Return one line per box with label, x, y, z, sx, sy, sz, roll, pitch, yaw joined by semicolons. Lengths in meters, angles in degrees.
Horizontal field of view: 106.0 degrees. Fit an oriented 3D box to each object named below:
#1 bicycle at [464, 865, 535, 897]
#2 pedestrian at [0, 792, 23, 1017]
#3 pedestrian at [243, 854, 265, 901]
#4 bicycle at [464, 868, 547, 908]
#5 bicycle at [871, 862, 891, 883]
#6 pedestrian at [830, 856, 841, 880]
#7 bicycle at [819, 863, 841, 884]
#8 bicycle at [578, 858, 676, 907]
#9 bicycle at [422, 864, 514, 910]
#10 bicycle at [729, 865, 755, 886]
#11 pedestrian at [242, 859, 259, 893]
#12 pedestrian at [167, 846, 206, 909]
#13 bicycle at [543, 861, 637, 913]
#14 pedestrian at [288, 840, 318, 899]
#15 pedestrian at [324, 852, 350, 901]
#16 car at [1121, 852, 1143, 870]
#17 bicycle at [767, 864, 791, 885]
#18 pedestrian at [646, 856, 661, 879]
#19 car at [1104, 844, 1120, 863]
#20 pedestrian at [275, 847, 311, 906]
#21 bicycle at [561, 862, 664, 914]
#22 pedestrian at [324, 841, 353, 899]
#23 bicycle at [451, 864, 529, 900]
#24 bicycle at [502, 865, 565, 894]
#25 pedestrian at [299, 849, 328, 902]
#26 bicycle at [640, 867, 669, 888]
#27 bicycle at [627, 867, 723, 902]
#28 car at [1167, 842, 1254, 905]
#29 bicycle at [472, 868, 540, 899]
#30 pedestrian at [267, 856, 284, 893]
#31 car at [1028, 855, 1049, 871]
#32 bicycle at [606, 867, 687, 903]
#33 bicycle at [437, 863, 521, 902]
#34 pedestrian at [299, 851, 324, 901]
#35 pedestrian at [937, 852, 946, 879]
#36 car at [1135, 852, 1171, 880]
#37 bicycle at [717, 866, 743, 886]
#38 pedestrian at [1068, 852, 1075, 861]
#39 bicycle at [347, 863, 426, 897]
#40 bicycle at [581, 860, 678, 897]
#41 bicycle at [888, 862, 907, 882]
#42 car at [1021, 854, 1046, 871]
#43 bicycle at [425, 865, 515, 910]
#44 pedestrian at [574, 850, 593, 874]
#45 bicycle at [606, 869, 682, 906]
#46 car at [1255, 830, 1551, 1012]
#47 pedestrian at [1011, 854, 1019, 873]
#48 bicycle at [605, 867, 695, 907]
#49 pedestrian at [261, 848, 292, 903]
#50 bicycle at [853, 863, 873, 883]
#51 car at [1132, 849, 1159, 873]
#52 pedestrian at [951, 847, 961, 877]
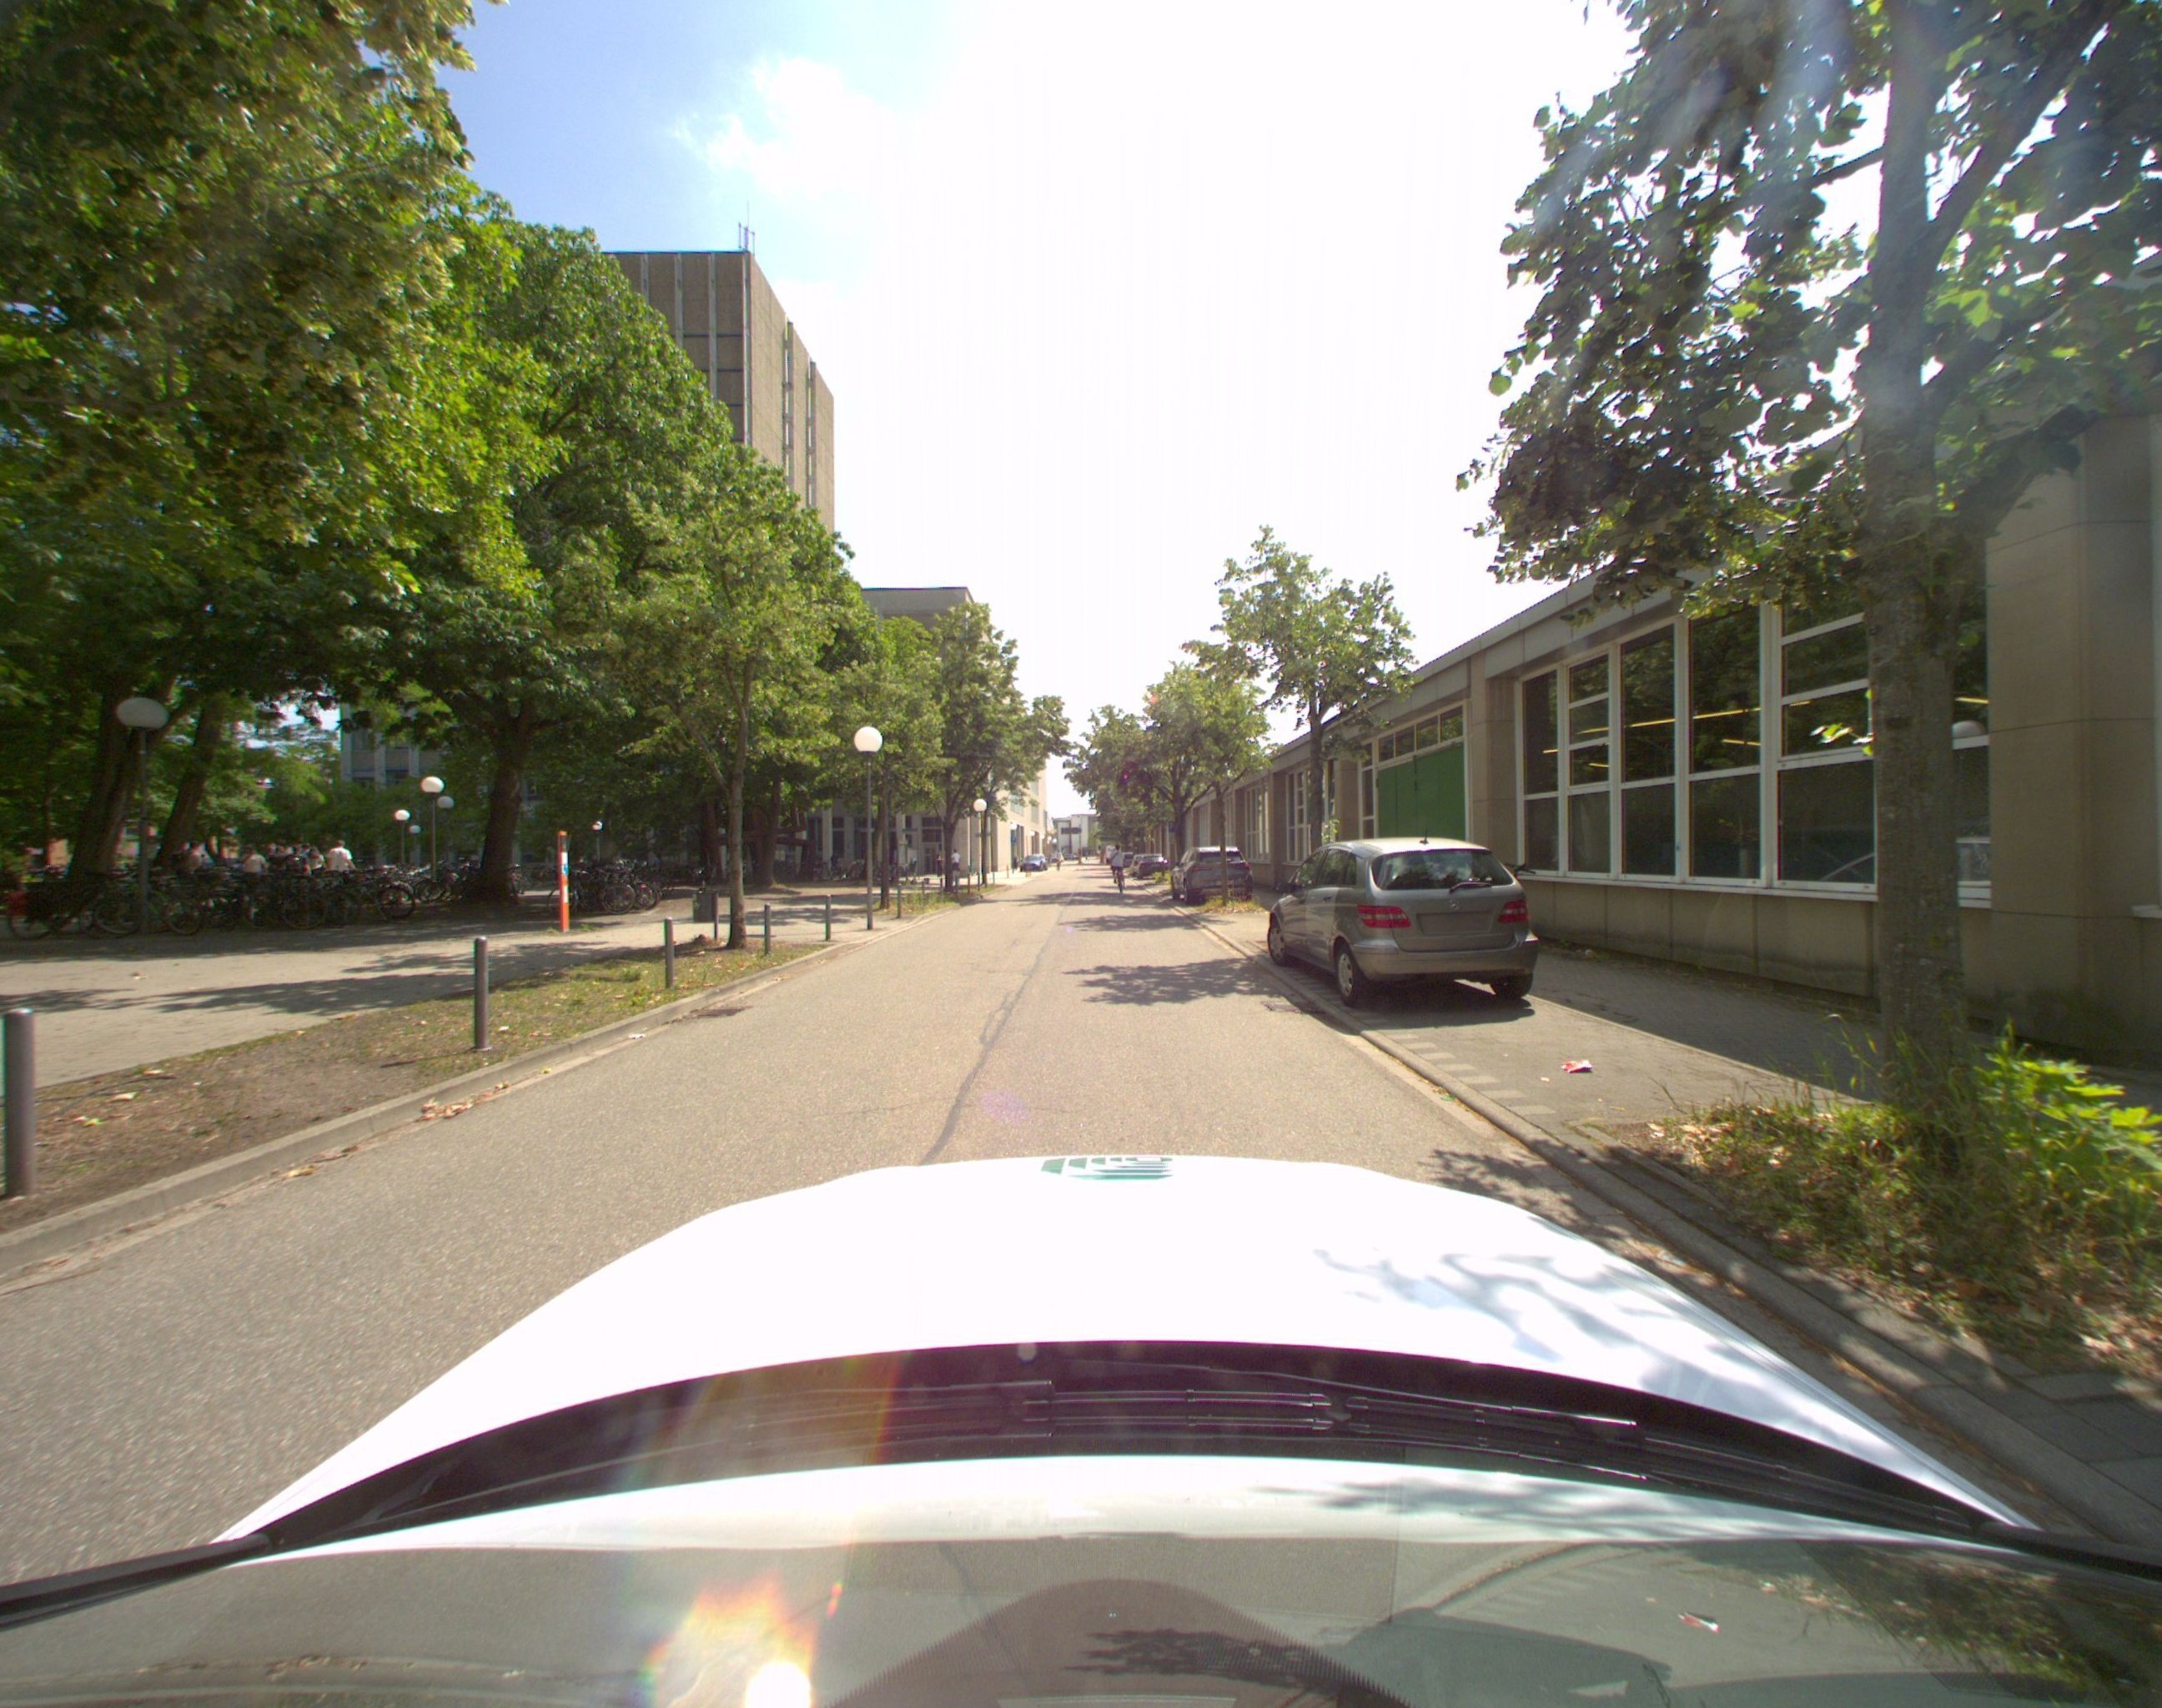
bicycle;-21.428;0.996;30.066;2.068;1.132;0.633;3;-1;-35
pedestrian;-9.903;0.426;6.819;0.912;1.954;0.895;1;-1;10
pedestrian;-28.927;0.807;28.489;0.346;1.614;0.464;0;0;27
bicycle;-17.724;1.033;25.139;2.069;1.132;0.633;0;0;-35
bicycle;-11.184;1.017;45.628;0.550;1.086;1.973;1;0;1
pedestrian;-17.015;0.944;56.521;0.636;1.661;0.689;0;0;-24
bicycle;-14.004;1.076;45.532;0.550;1.086;1.973;1;0;1
bicycle;-11.726;0.738;21.116;2.058;1.234;0.804;1;-1;-17
bicycle;-17.421;0.915;23.207;2.069;1.234;0.633;0;0;-35
bicycle;-18.919;1.181;45.452;0.550;1.086;1.973;1;0;1
pedestrian;-37.929;0.992;37.177;0.411;1.526;0.482;0;0;-30
pedestrian;-24.328;0.627;22.166;0.580;1.670;0.624;0;0;-34
bicycle;-11.205;0.736;18.625;1.777;1.132;0.456;0;0;-17
pedestrian;-26.216;0.508;27.440;0.624;1.934;0.675;0;0;-34
pedestrian;-30.889;0.914;33.809;0.528;2.013;0.595;0;0;15
car;4.787;0.656;76.357;1.852;1.574;4.001;-2;0;1
bicycle;-16.802;1.133;45.407;0.550;1.086;1.973;1;0;1
pedestrian;-28.758;0.923;54.775;0.702;1.540;0.717;0;0;-9
car;4.138;-0.090;110.242;2.076;2.539;4.316;0;0;1
pedestrian;-22.938;0.643;23.729;0.634;1.670;0.722;0;0;-34
bicycle;-11.559;0.810;20.168;2.059;1.234;0.804;0;0;-17
pedestrian;-25.426;0.535;27.899;0.650;1.934;0.689;0;0;-34
bicycle;-19.530;0.911;26.969;2.069;1.132;0.633;0;0;-35
bicycle;-22.423;1.035;33.394;2.068;1.132;0.633;3;-2;-35
pedestrian;-24.299;0.663;25.805;0.558;1.670;0.686;0;0;-34
bicycle;-23.706;1.281;45.287;0.550;1.086;1.973;1;0;1
bicycle;-13.620;1.001;27.392;2.766;1.086;0.872;0;0;-42
car;3.835;0.567;24.843;1.817;1.664;4.582;-2;-1;-1
bicycle;-21.766;1.102;30.882;2.069;1.132;0.633;0;1;-35
pedestrian;-37.519;0.934;37.929;0.414;1.714;0.539;0;0;-30
car;-4.027;0.837;77.042;1.625;1.485;4.179;-1;0;1
bicycle;-13.189;0.931;24.746;2.160;1.008;0.671;0;0;-30
bicycle;-18.801;0.865;25.495;2.069;1.158;0.633;0;1;-35
pedestrian;-31.439;0.897;33.265;0.528;2.013;0.521;0;0;15
pedestrian;-9.219;0.726;53.772;0.444;1.775;0.447;0;0;-30
car;4.223;0.682;48.274;1.774;1.476;4.462;-2;0;1
bicycle;-19.697;1.206;45.675;0.550;1.086;1.973;1;0;1
pedestrian;-2.112;0.556;183.247;1.413;2.107;0.994;0;0;-3
bicycle;-24.628;0.902;28.917;2.069;1.132;0.633;0;1;-35
bicycle;-16.133;0.848;29.189;2.924;1.220;0.872;0;0;-42
bicycle;-10.239;0.990;45.431;0.550;1.086;1.973;1;0;1
car;-4.210;0.736;71.995;1.759;1.427;4.237;-1;-1;2
bicycle;-17.788;0.956;23.764;2.069;1.234;0.633;1;0;-35
pedestrian;-32.615;0.531;53.416;0.824;1.593;0.598;-1;0;2
bicycle;-12.510;0.938;23.344;1.897;1.008;0.671;0;0;-29
car;3.347;0.603;9.404;1.699;1.574;4.139;-2;0;-1
pedestrian;-5.956;0.839;73.607;0.649;1.701;0.886;0;0;-10
bicycle;-11.867;0.888;22.473;2.160;1.008;0.671;0;0;-29
pedestrian;-24.927;0.654;25.243;0.558;1.670;0.696;0;0;-34
bicycle;-12.287;1.052;45.930;0.550;1.086;1.973;1;0;1
car;4.256;0.440;54.159;1.610;1.538;3.780;-1;0;1
pedestrian;-8.139;0.504;53.037;0.415;1.942;0.657;0;0;-28
